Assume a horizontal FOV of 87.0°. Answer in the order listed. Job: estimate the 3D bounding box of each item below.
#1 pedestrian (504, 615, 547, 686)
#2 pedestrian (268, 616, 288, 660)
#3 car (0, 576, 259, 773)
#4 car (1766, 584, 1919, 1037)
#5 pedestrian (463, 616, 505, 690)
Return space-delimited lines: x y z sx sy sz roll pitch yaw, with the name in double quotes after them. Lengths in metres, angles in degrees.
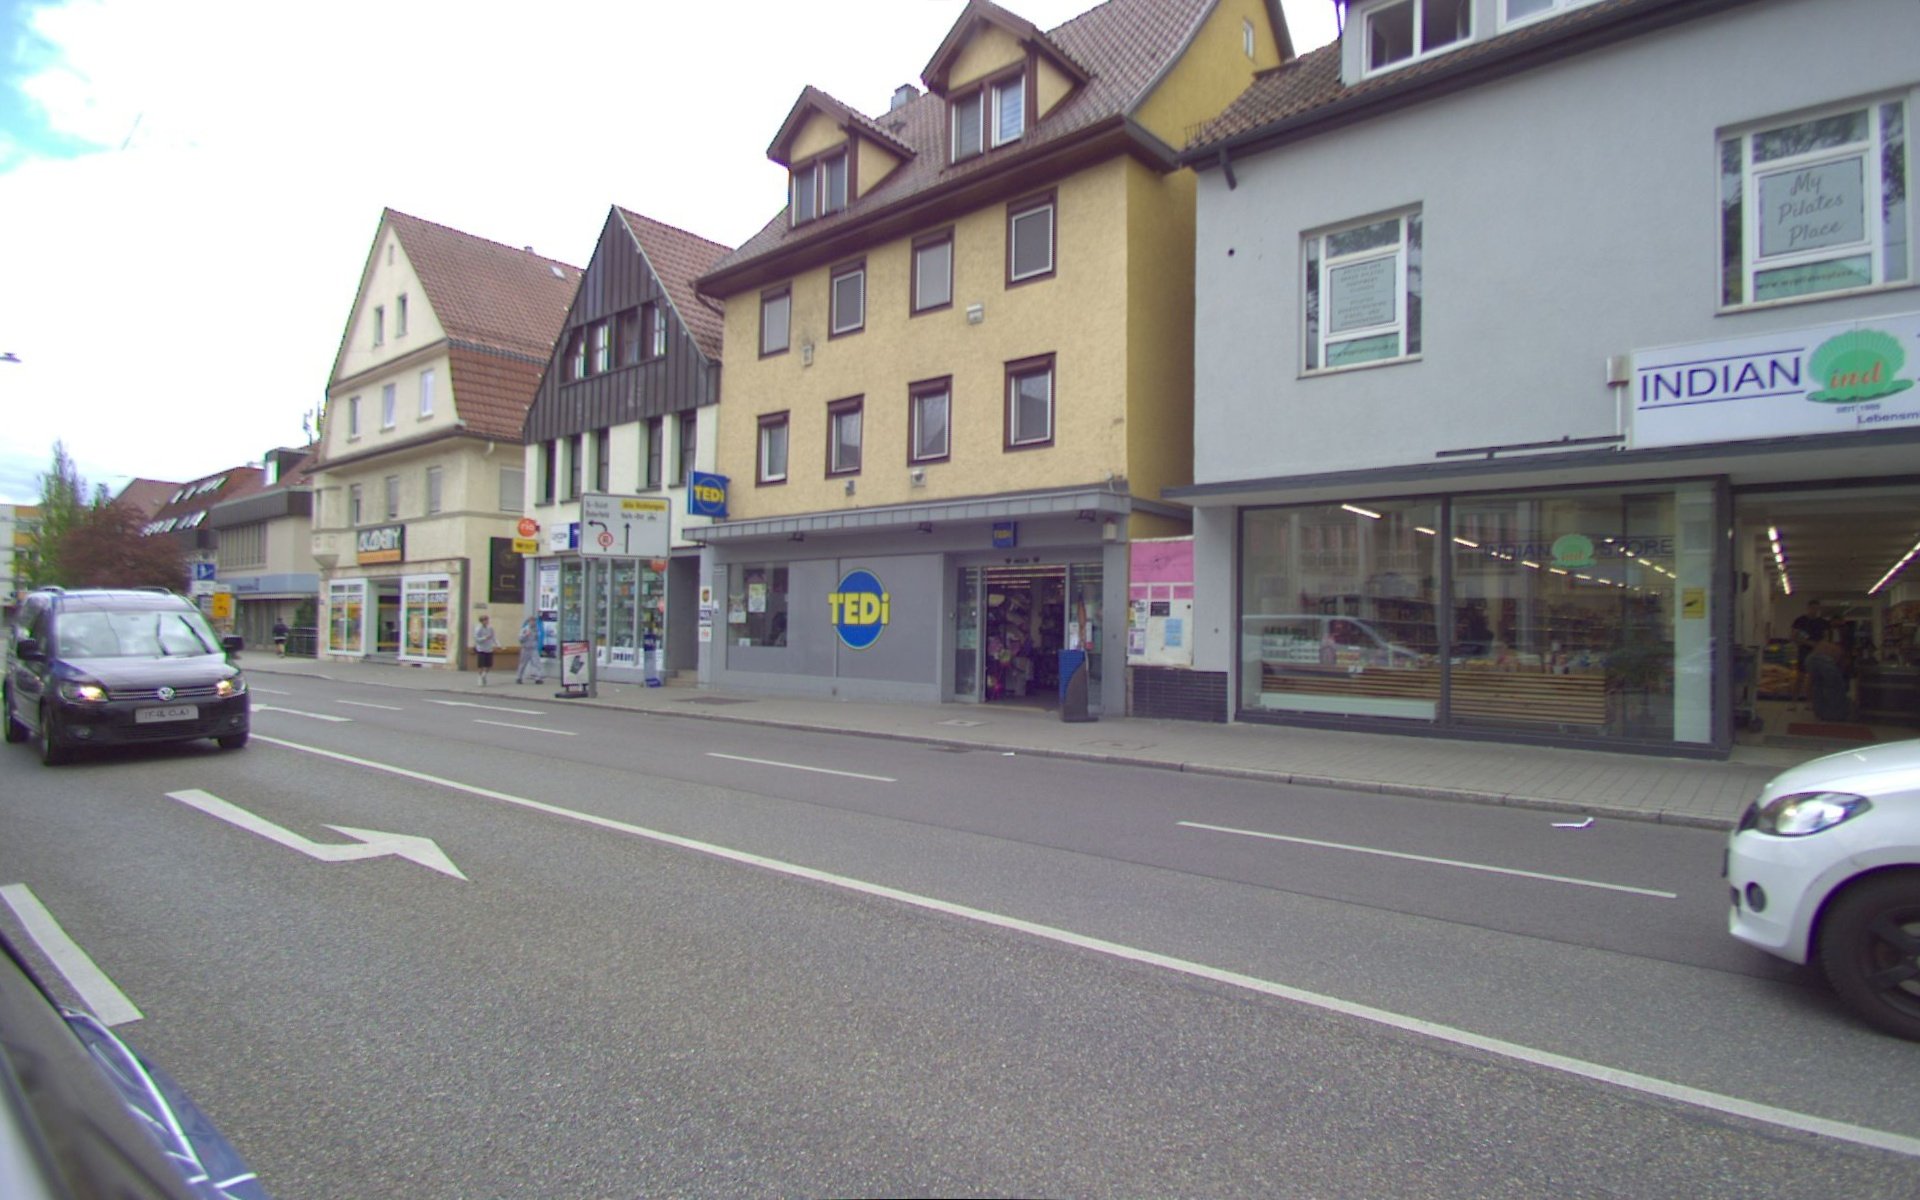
-10.529 1.208 24.545 0.709 1.683 0.680 -1 0 41 "pedestrian"
-29.869 1.664 44.302 0.592 1.903 0.544 -1 -1 37 "pedestrian"
-9.888 0.746 11.796 4.631 1.869 1.726 -1 -1 41 "car"
4.714 0.704 3.090 3.461 1.500 1.558 -1 -3 41 "car"
-11.335 1.244 24.098 0.742 1.703 0.680 -1 -1 41 "pedestrian"
